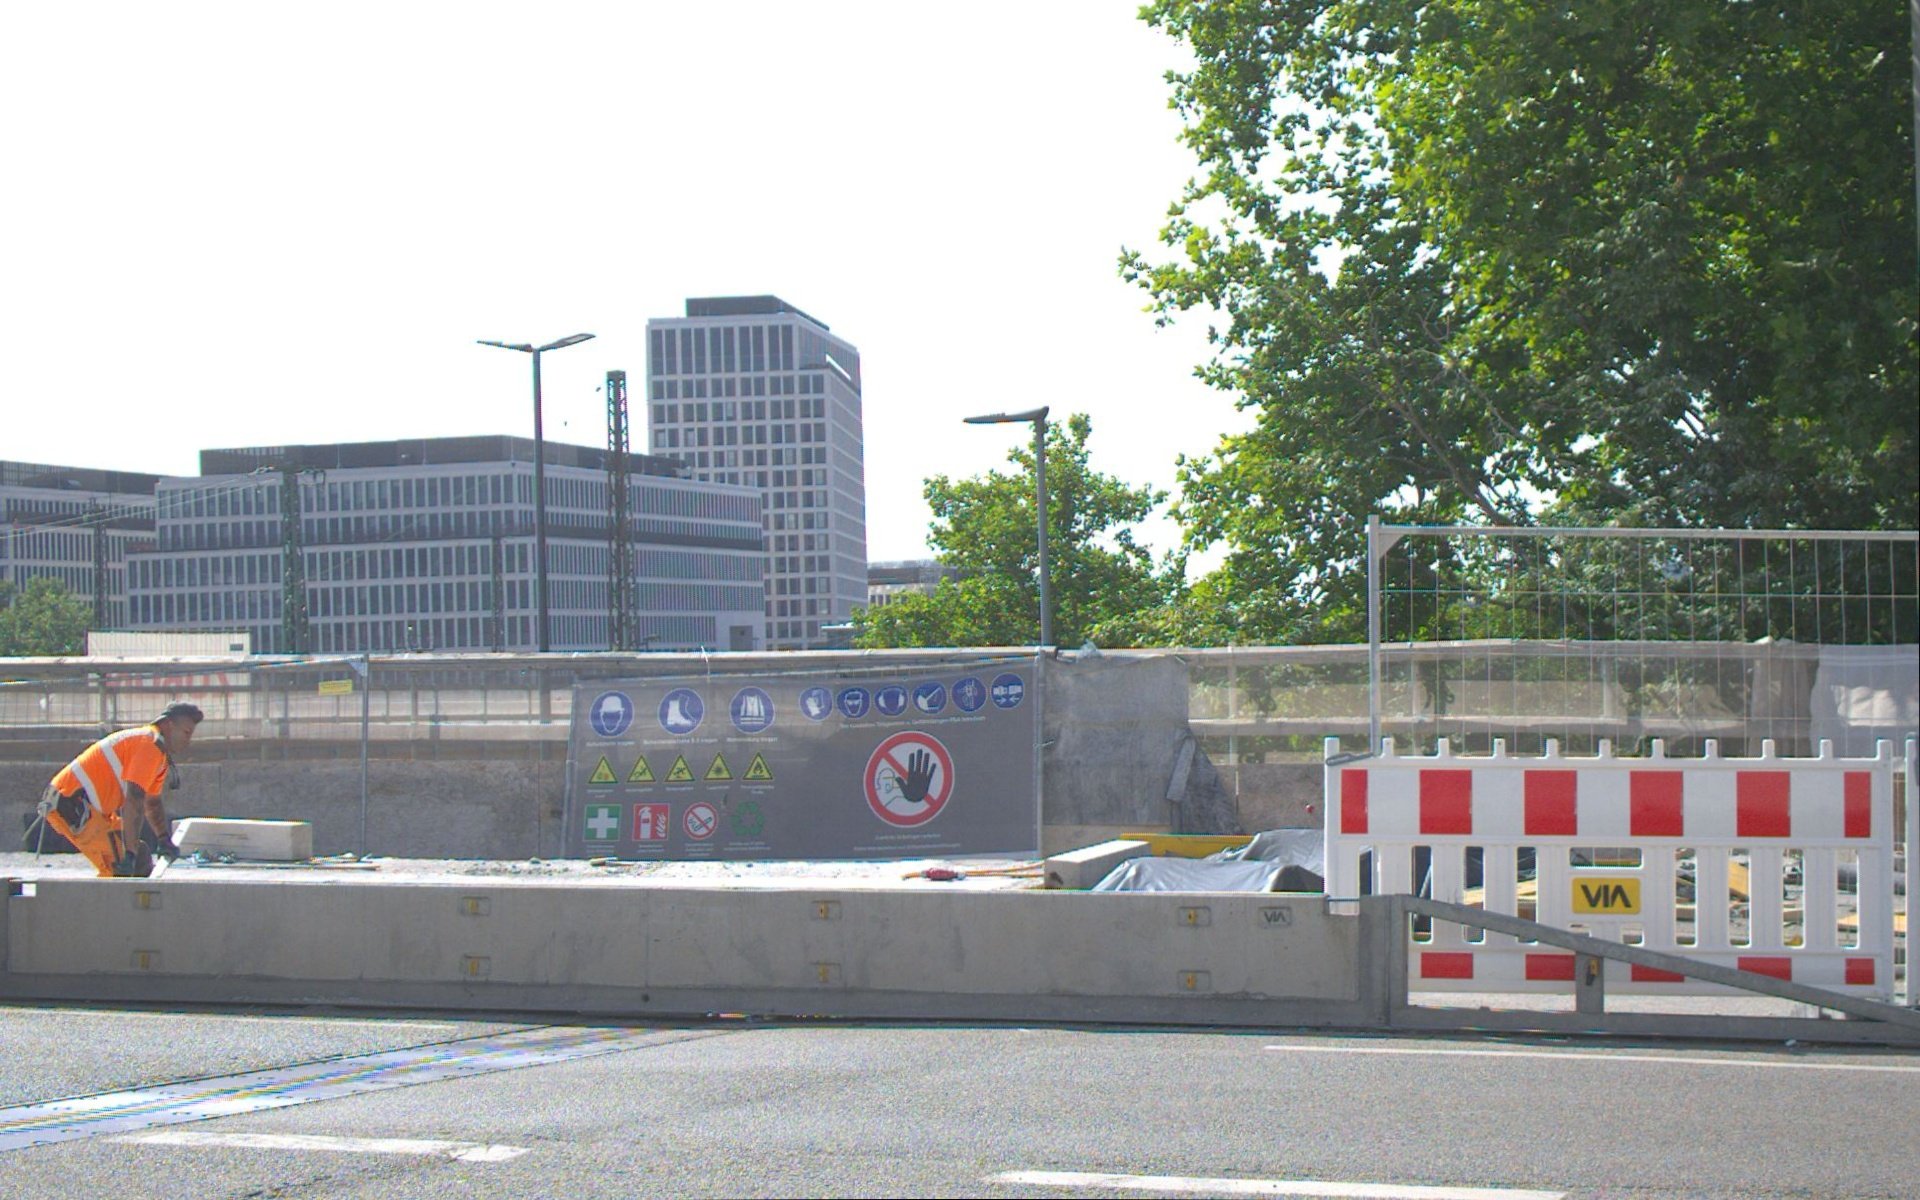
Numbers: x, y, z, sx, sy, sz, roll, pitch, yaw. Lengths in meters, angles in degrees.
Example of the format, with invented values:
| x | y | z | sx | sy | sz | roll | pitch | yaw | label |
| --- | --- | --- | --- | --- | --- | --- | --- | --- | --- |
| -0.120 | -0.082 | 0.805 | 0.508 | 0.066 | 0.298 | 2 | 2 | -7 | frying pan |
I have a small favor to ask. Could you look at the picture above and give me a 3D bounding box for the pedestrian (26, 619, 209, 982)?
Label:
| x | y | z | sx | sy | sz | roll | pitch | yaw | label |
| --- | --- | --- | --- | --- | --- | --- | --- | --- | --- |
| -4.338 | 1.008 | 17.757 | 0.861 | 1.789 | 0.822 | -1 | 1 | -12 | pedestrian |
